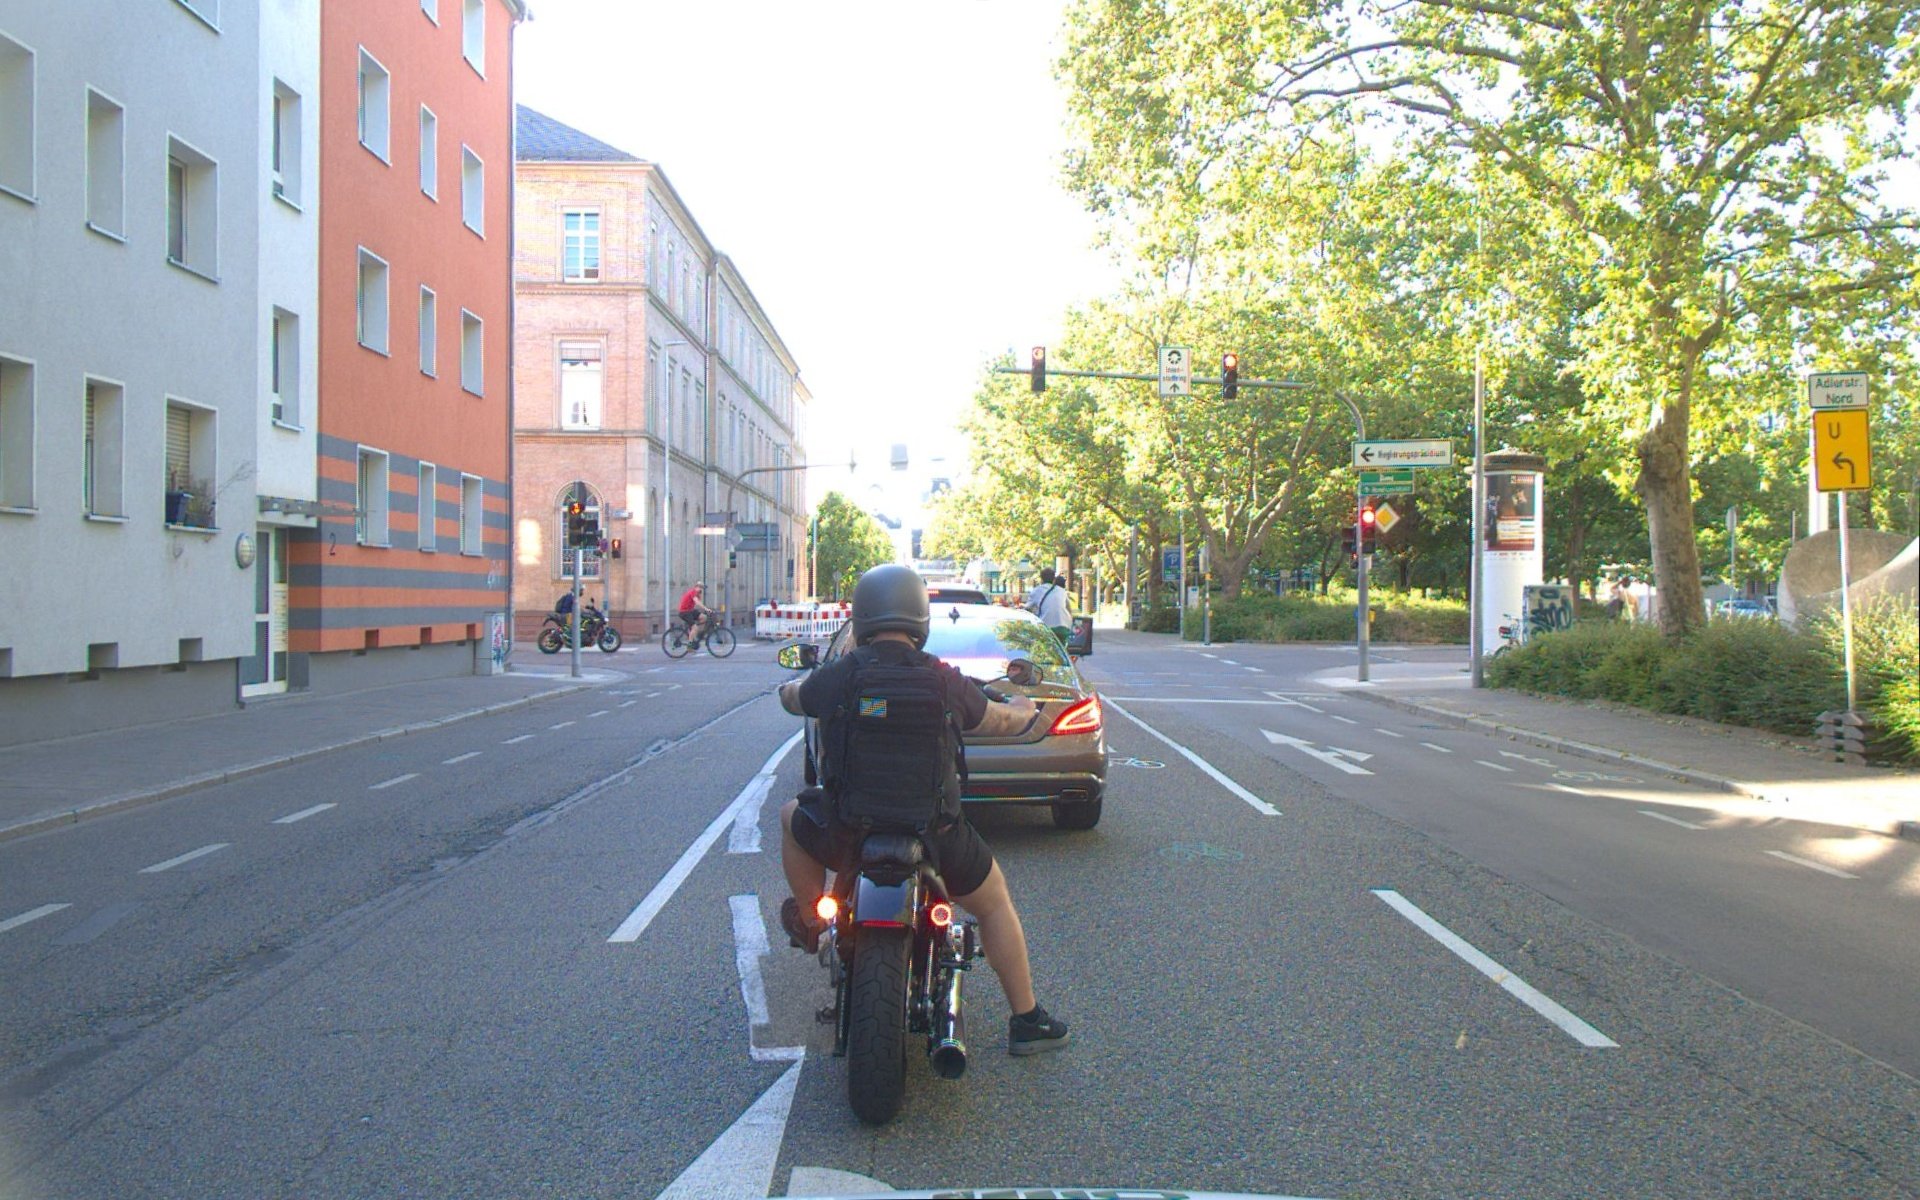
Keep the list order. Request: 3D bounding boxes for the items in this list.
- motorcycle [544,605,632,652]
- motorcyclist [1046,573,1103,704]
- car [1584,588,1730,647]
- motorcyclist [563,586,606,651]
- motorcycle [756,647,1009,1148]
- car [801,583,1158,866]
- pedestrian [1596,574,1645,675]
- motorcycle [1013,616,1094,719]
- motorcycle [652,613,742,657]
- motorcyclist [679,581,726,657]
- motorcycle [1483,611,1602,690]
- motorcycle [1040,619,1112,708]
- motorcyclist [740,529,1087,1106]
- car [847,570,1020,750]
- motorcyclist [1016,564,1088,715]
[{"bbox_3d":[-9.157,0.693,40.771,2.040,1.116,0.627,1,0,-6],"label":"motorcycle"},{"bbox_3d":[1.570,0.523,22.827,0.702,1.773,0.751,1,-1,-1],"label":"motorcyclist"},{"bbox_3d":[21.989,0.545,52.276,3.907,1.803,1.737,0,0,-3],"label":"car"},{"bbox_3d":[-9.246,0.453,40.769,0.921,1.564,0.644,1,-1,-5],"label":"motorcyclist"},{"bbox_3d":[-0.219,0.815,5.397,0.646,1.261,2.057,1,0,-1],"label":"motorcycle"},{"bbox_3d":[-0.085,0.684,11.107,1.790,1.512,4.326,1,0,-7],"label":"car"},{"bbox_3d":[12.286,0.449,30.778,0.634,1.859,0.667,0,0,-1],"label":"pedestrian"},{"bbox_3d":[1.126,0.803,20.383,0.845,1.189,1.929,1,0,-1],"label":"motorcycle"},{"bbox_3d":[-6.097,0.816,38.338,1.971,0.979,0.580,1,0,0],"label":"motorcycle"},{"bbox_3d":[-5.968,0.437,38.353,0.964,1.753,0.550,1,-1,0],"label":"motorcyclist"},{"bbox_3d":[9.775,0.839,27.805,1.743,1.265,0.723,1,0,4],"label":"motorcycle"},{"bbox_3d":[1.574,0.847,22.828,0.781,1.151,2.236,1,0,-1],"label":"motorcycle"},{"bbox_3d":[-0.140,0.628,5.307,0.970,1.639,1.120,1,0,-1],"label":"motorcyclist"},{"bbox_3d":[-0.276,0.575,17.698,1.618,1.681,3.999,1,0,-1],"label":"car"},{"bbox_3d":[1.131,0.483,20.521,0.814,1.820,0.913,1,-1,-1],"label":"motorcyclist"}]
